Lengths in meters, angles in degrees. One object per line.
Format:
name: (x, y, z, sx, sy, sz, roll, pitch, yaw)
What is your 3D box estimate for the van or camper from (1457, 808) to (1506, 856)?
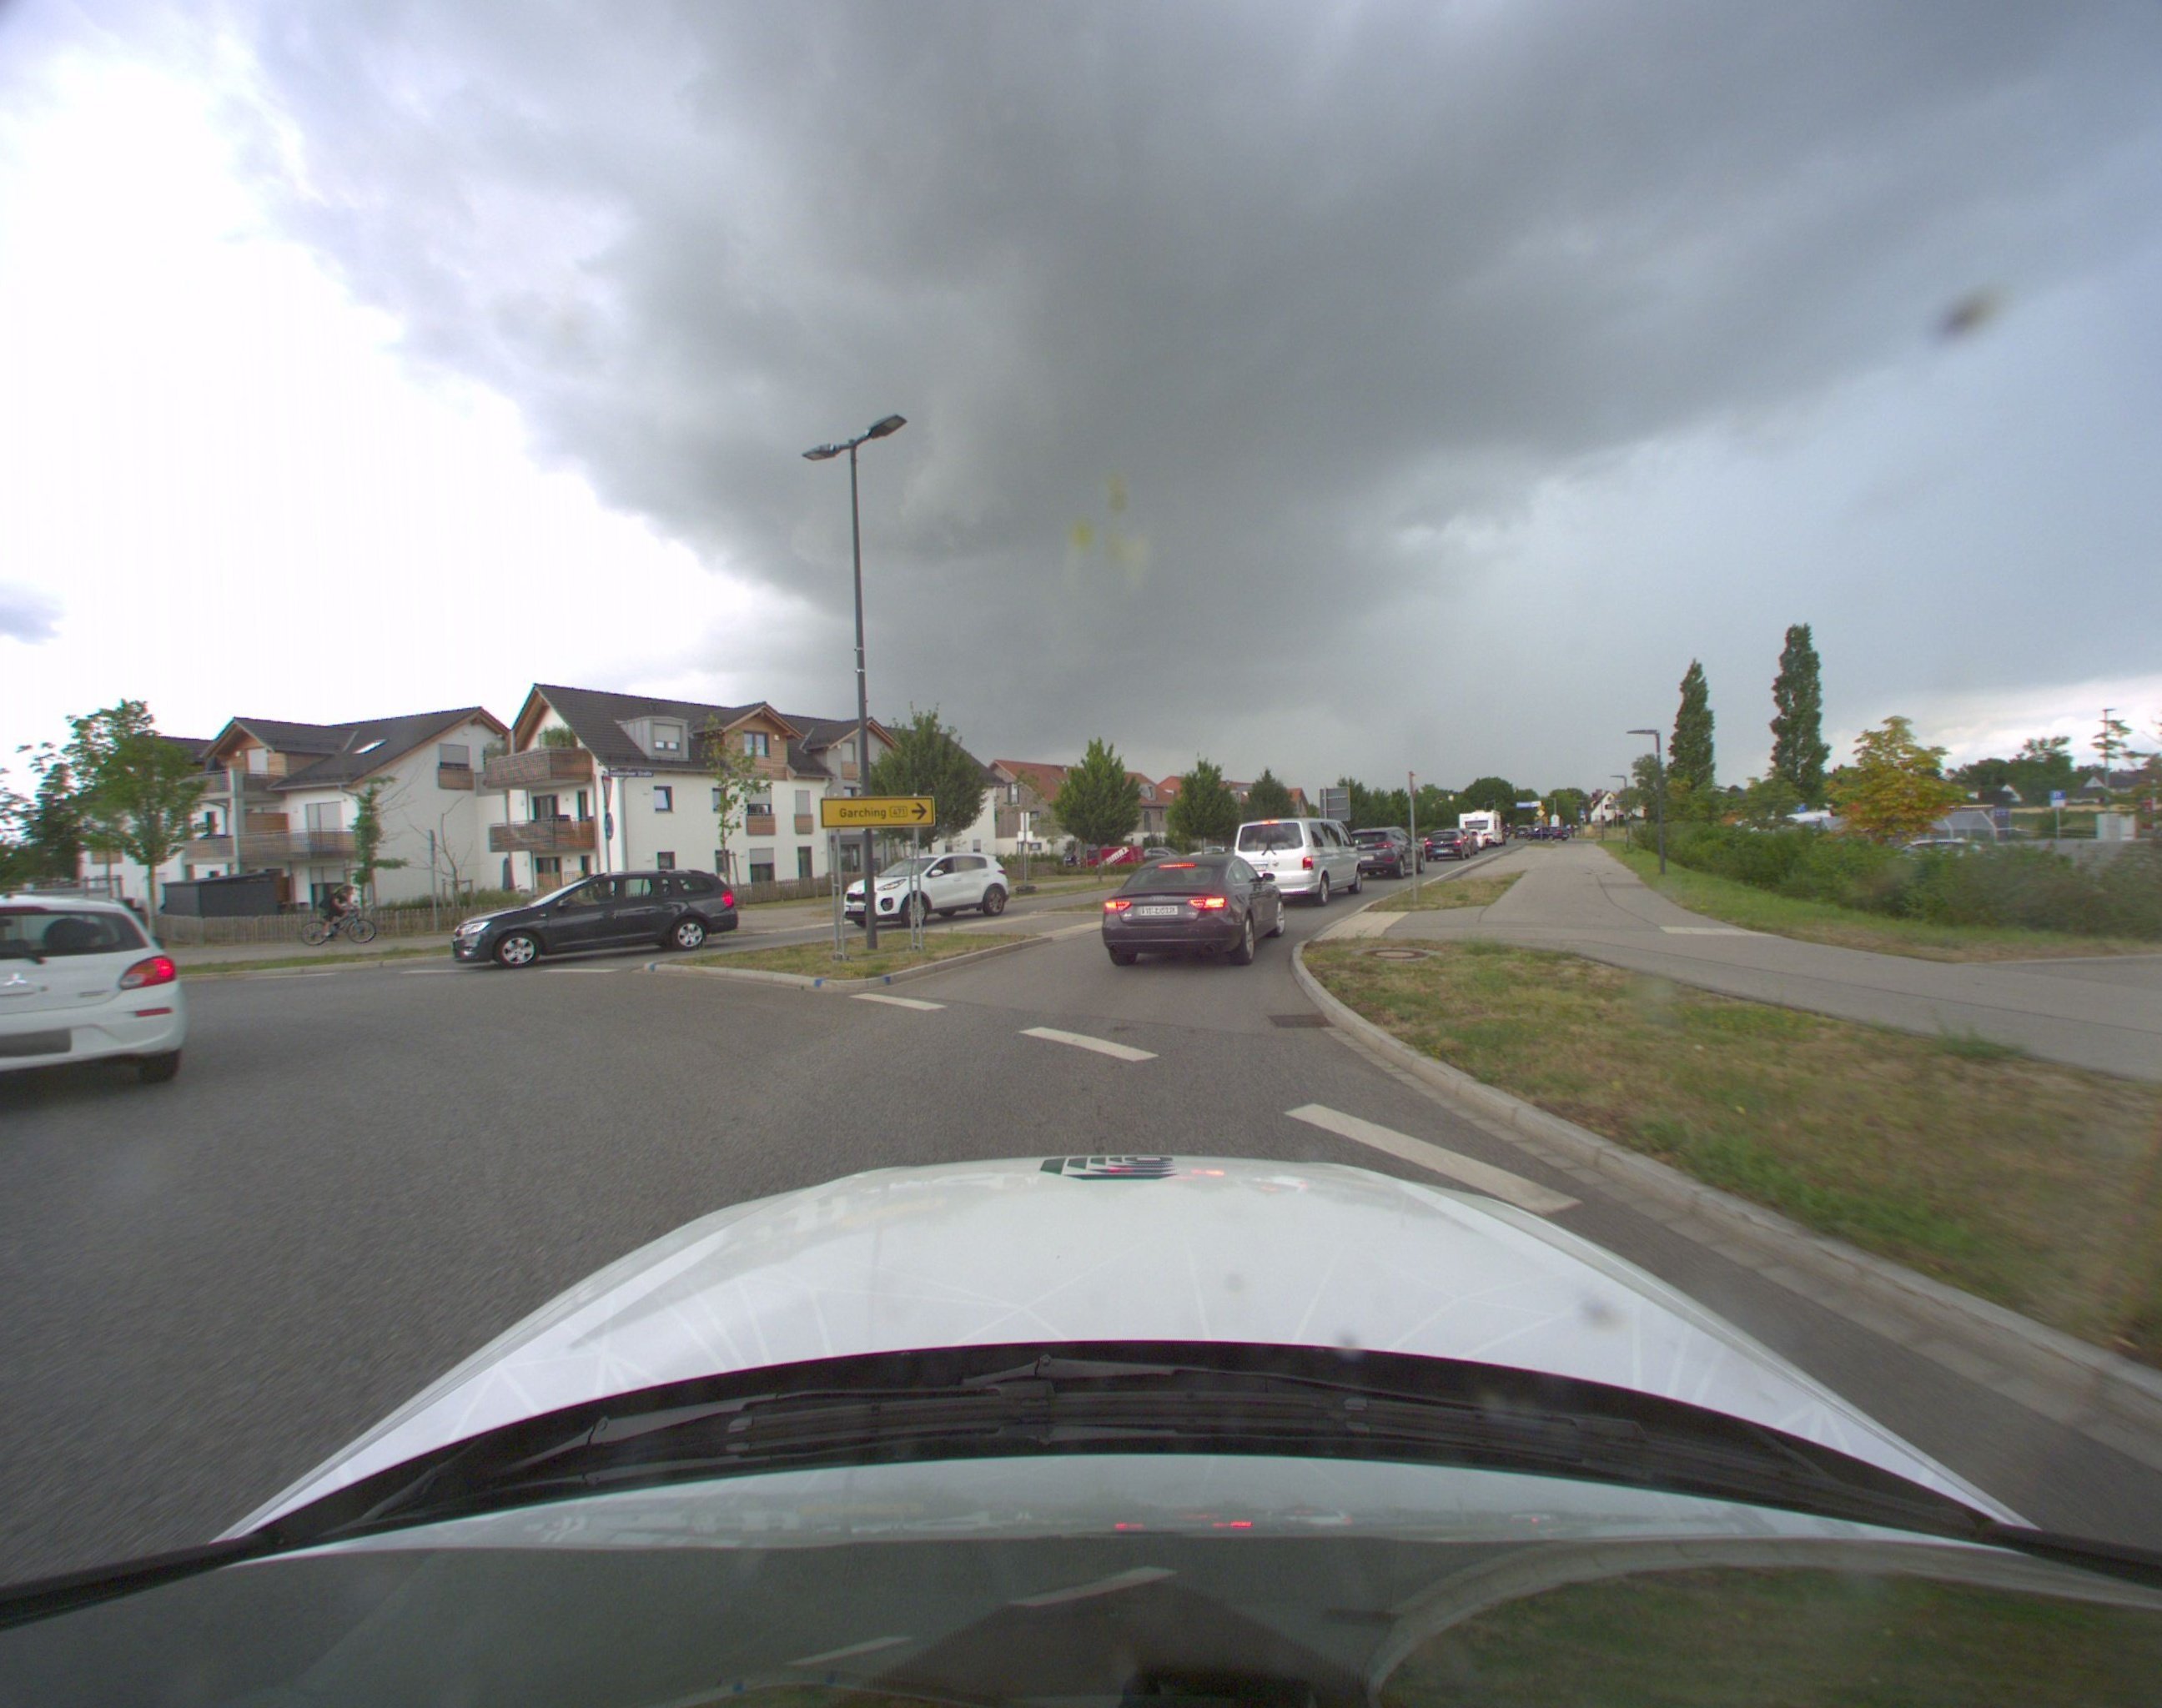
van or camper: (29.738, -1.604, 60.314, 2.599, 3.323, 6.865, -2, 0, 31)

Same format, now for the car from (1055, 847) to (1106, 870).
car: (0.004, 0.340, 69.710, 1.974, 1.772, 4.494, -2, 0, 37)

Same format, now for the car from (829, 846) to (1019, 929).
car: (-3.642, 0.742, 19.660, 1.692, 1.626, 4.480, -3, 0, 36)

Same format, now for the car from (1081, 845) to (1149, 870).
car: (2.465, 0.262, 59.366, 4.486, 1.680, 2.013, -1, 0, 35)

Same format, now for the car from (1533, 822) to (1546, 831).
car: (79.124, -4.762, 140.604, 1.827, 1.435, 4.026, -1, 1, 31)

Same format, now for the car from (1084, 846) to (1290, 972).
car: (1.685, 0.640, 11.454, 1.768, 1.391, 4.155, -3, 0, 23)

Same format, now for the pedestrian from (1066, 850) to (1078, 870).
pedestrian: (-0.704, 0.482, 64.651, 0.651, 1.558, 0.587, -2, 1, 33)

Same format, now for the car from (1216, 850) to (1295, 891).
car: (8.227, 0.709, 38.117, 1.975, 1.703, 4.664, 3, 2, 34)

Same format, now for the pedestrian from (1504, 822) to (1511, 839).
pedestrian: (50.826, -2.841, 96.973, 0.573, 2.013, 0.685, 1, 2, 38)

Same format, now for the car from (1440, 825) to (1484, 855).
car: (20.631, -0.767, 44.004, 1.759, 1.434, 3.826, -3, 0, 30)

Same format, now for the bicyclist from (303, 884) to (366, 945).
bicyclist: (-19.180, 1.541, 20.939, 0.867, 1.446, 0.722, -4, 0, -11)

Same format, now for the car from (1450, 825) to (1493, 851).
car: (25.304, -1.036, 52.733, 1.974, 1.596, 4.026, -2, 0, 33)

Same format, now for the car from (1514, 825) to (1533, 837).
car: (54.091, -2.795, 99.539, 1.827, 1.435, 4.026, -1, 1, 31)

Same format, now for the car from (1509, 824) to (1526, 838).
car: (61.721, -3.273, 115.101, 1.974, 1.899, 4.026, -1, 1, 31)

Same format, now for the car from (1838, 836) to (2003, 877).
car: (33.236, 0.100, 32.445, 4.191, 1.440, 2.013, -2, 1, 32)

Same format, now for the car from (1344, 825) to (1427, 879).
car: (10.084, -0.077, 26.789, 1.759, 1.618, 4.026, -2, 0, 32)

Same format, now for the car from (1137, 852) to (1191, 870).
car: (6.799, 0.568, 66.804, 3.877, 1.315, 1.854, -2, 0, 29)

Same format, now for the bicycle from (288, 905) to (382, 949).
bicycle: (-19.159, 1.859, 20.944, 1.709, 0.946, 0.495, -4, 0, -12)

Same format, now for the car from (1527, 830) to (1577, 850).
car: (45.853, -1.333, 79.396, 1.623, 1.794, 3.963, -2, 0, -28)

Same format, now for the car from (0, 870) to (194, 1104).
car: (-8.431, 0.969, 6.488, 3.355, 1.519, 1.643, -3, -2, 39)

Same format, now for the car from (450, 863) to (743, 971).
car: (-8.716, 1.034, 14.895, 4.304, 1.564, 1.752, -2, -1, -44)

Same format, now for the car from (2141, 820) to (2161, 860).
car: (48.637, -0.667, 34.224, 4.512, 1.664, 2.013, -2, 1, 32)

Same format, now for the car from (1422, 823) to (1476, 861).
car: (17.346, -0.590, 38.253, 1.759, 1.618, 4.026, -3, 0, 31)

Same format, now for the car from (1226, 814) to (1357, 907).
car: (5.028, 0.118, 19.069, 1.849, 1.934, 4.025, -2, 0, 31)

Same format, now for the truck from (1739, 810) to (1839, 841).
truck: (47.613, -1.909, 54.926, 4.751, 1.872, 2.012, -1, 1, 27)

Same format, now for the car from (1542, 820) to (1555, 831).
car: (105.225, -6.388, 183.217, 1.974, 2.211, 4.026, -2, 1, 36)

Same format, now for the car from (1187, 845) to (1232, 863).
car: (11.852, -0.014, 74.955, 3.694, 1.482, 1.697, -2, 1, 29)
